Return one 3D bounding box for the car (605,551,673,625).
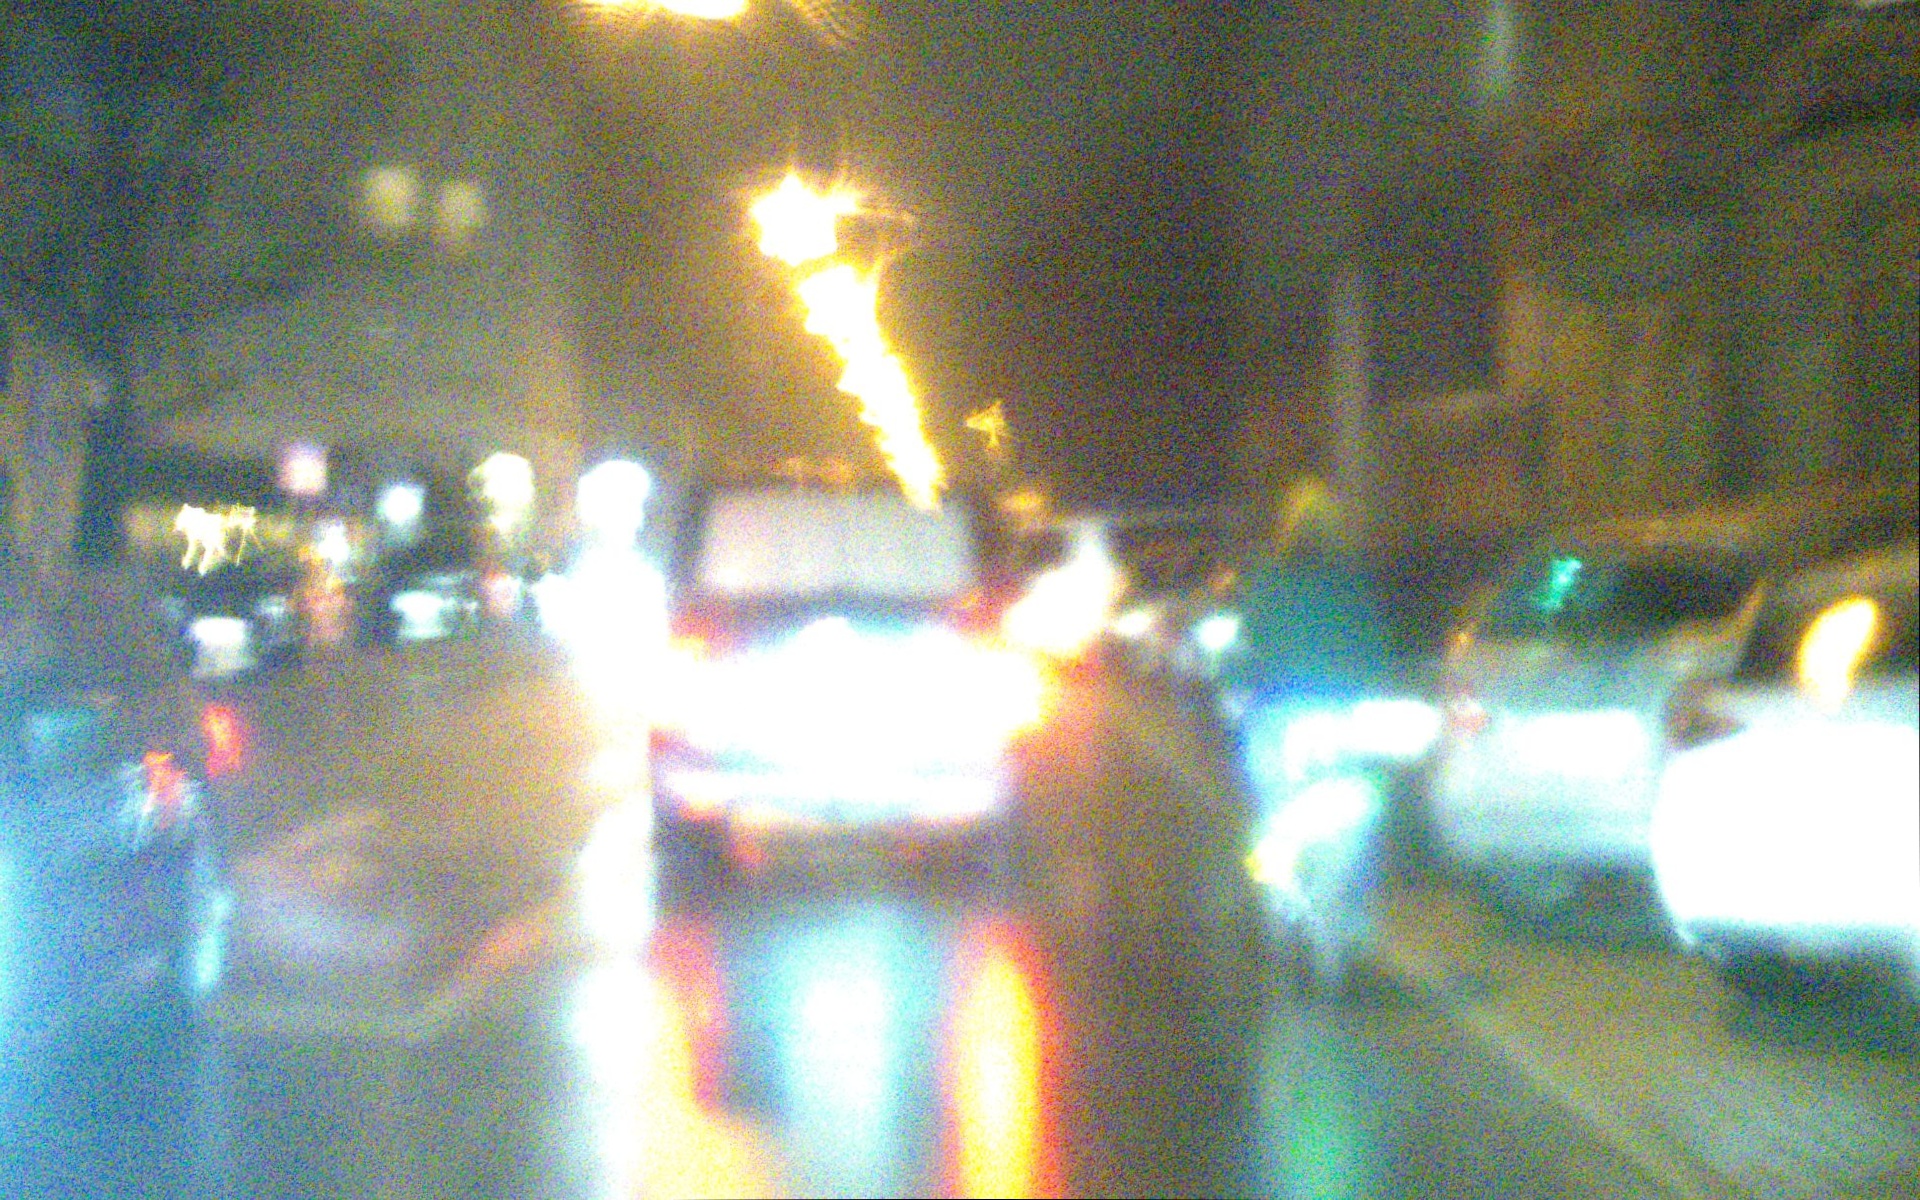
[{"bbox_3d":[-8.691,-0.347,93.310,1.724,1.965,4.222,0,1,-4],"label":"car"}]

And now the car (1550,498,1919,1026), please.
[{"bbox_3d":[4.045,0.370,11.104,4.173,1.452,1.857,-3,2,-38],"label":"car"}]

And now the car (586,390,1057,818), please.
[{"bbox_3d":[-0.653,-0.010,18.156,2.168,1.965,4.302,-1,1,0],"label":"car"}]

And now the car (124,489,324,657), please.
[{"bbox_3d":[-9.136,-0.351,42.433,1.990,1.965,4.303,0,1,-18],"label":"car"}]

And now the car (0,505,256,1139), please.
[{"bbox_3d":[-3.257,0.535,9.291,1.787,1.549,4.855,0,1,-1],"label":"car"}]

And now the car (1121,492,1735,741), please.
[{"bbox_3d":[3.493,0.080,25.728,4.171,1.639,1.770,-2,1,-21],"label":"car"}]

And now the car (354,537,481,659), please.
[{"bbox_3d":[-9.091,-0.061,57.402,1.724,1.965,3.729,0,1,-15],"label":"car"}]

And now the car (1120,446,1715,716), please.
[{"bbox_3d":[3.195,-0.179,23.501,4.174,1.639,1.661,-3,2,-41],"label":"car"}]

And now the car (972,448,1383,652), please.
[{"bbox_3d":[2.807,-0.669,43.746,4.995,2.383,2.139,-3,2,-38],"label":"car"}]

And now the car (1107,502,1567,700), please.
[{"bbox_3d":[3.553,-0.027,32.047,4.173,1.639,1.769,-3,2,-38],"label":"car"}]

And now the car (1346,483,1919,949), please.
[{"bbox_3d":[3.732,0.324,13.773,4.173,1.571,1.882,-3,2,-38],"label":"car"}]

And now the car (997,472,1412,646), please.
[{"bbox_3d":[2.586,-0.451,35.875,4.173,1.639,1.769,-3,2,-38],"label":"car"}]

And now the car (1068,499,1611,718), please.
[{"bbox_3d":[3.199,0.034,29.034,4.171,1.639,1.770,-2,1,-21],"label":"car"}]

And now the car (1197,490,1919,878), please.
[{"bbox_3d":[3.348,0.307,16.511,4.172,1.585,1.731,-3,2,-33],"label":"car"}]
